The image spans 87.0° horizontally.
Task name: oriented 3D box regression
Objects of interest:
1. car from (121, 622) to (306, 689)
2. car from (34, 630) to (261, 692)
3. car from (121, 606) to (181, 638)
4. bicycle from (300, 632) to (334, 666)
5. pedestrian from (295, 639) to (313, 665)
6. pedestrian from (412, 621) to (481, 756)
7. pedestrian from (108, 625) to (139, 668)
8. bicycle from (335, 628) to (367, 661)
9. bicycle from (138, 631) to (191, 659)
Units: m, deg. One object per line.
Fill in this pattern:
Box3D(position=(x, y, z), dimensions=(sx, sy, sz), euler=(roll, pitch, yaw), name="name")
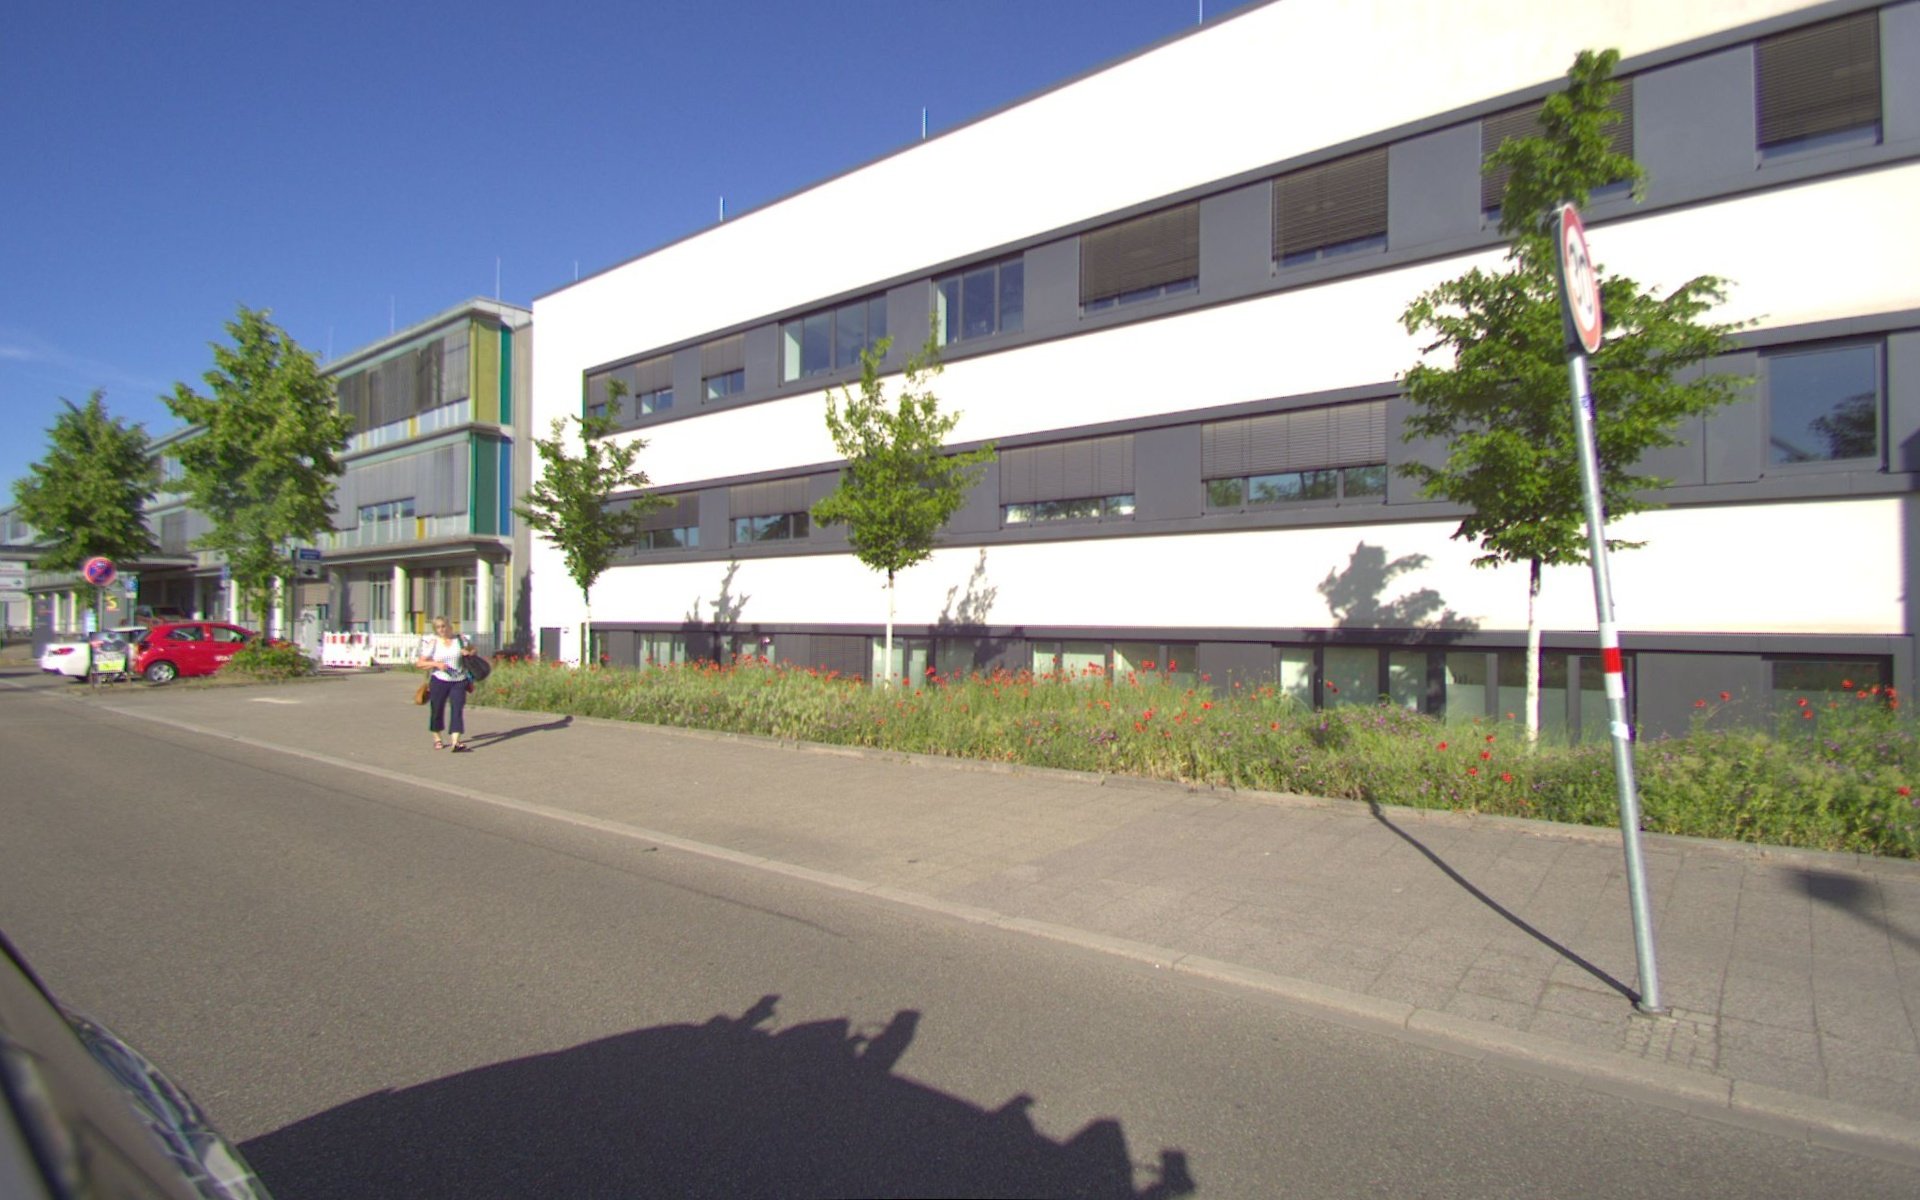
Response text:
Box3D(position=(-18.865, 1.358, 25.656), dimensions=(3.592, 1.480, 1.615), euler=(-1, -1, -44), name="car")
Box3D(position=(-21.248, 1.536, 26.609), dimensions=(1.699, 1.378, 4.463), euler=(-2, -1, 42), name="car")
Box3D(position=(-49.146, 1.357, 61.434), dimensions=(4.707, 1.905, 1.900), euler=(-2, -2, 40), name="car")
Box3D(position=(-22.213, 1.682, 34.942), dimensions=(1.861, 1.120, 0.529), euler=(-2, -3, 43), name="bicycle")
Box3D(position=(-29.448, 2.325, 45.419), dimensions=(0.555, 1.182, 0.526), euler=(-2, -2, 41), name="pedestrian")
Box3D(position=(-6.051, 1.016, 11.925), dimensions=(0.607, 1.535, 0.532), euler=(-2, -2, 41), name="pedestrian")
Box3D(position=(-31.718, 1.756, 38.382), dimensions=(0.779, 1.561, 0.765), euler=(-1, 0, 40), name="pedestrian")
Box3D(position=(-21.052, 1.522, 34.976), dimensions=(1.763, 1.132, 0.416), euler=(-2, -3, 41), name="bicycle")
Box3D(position=(-33.005, 1.867, 42.004), dimensions=(0.536, 1.130, 1.683), euler=(-2, -3, 45), name="bicycle")
